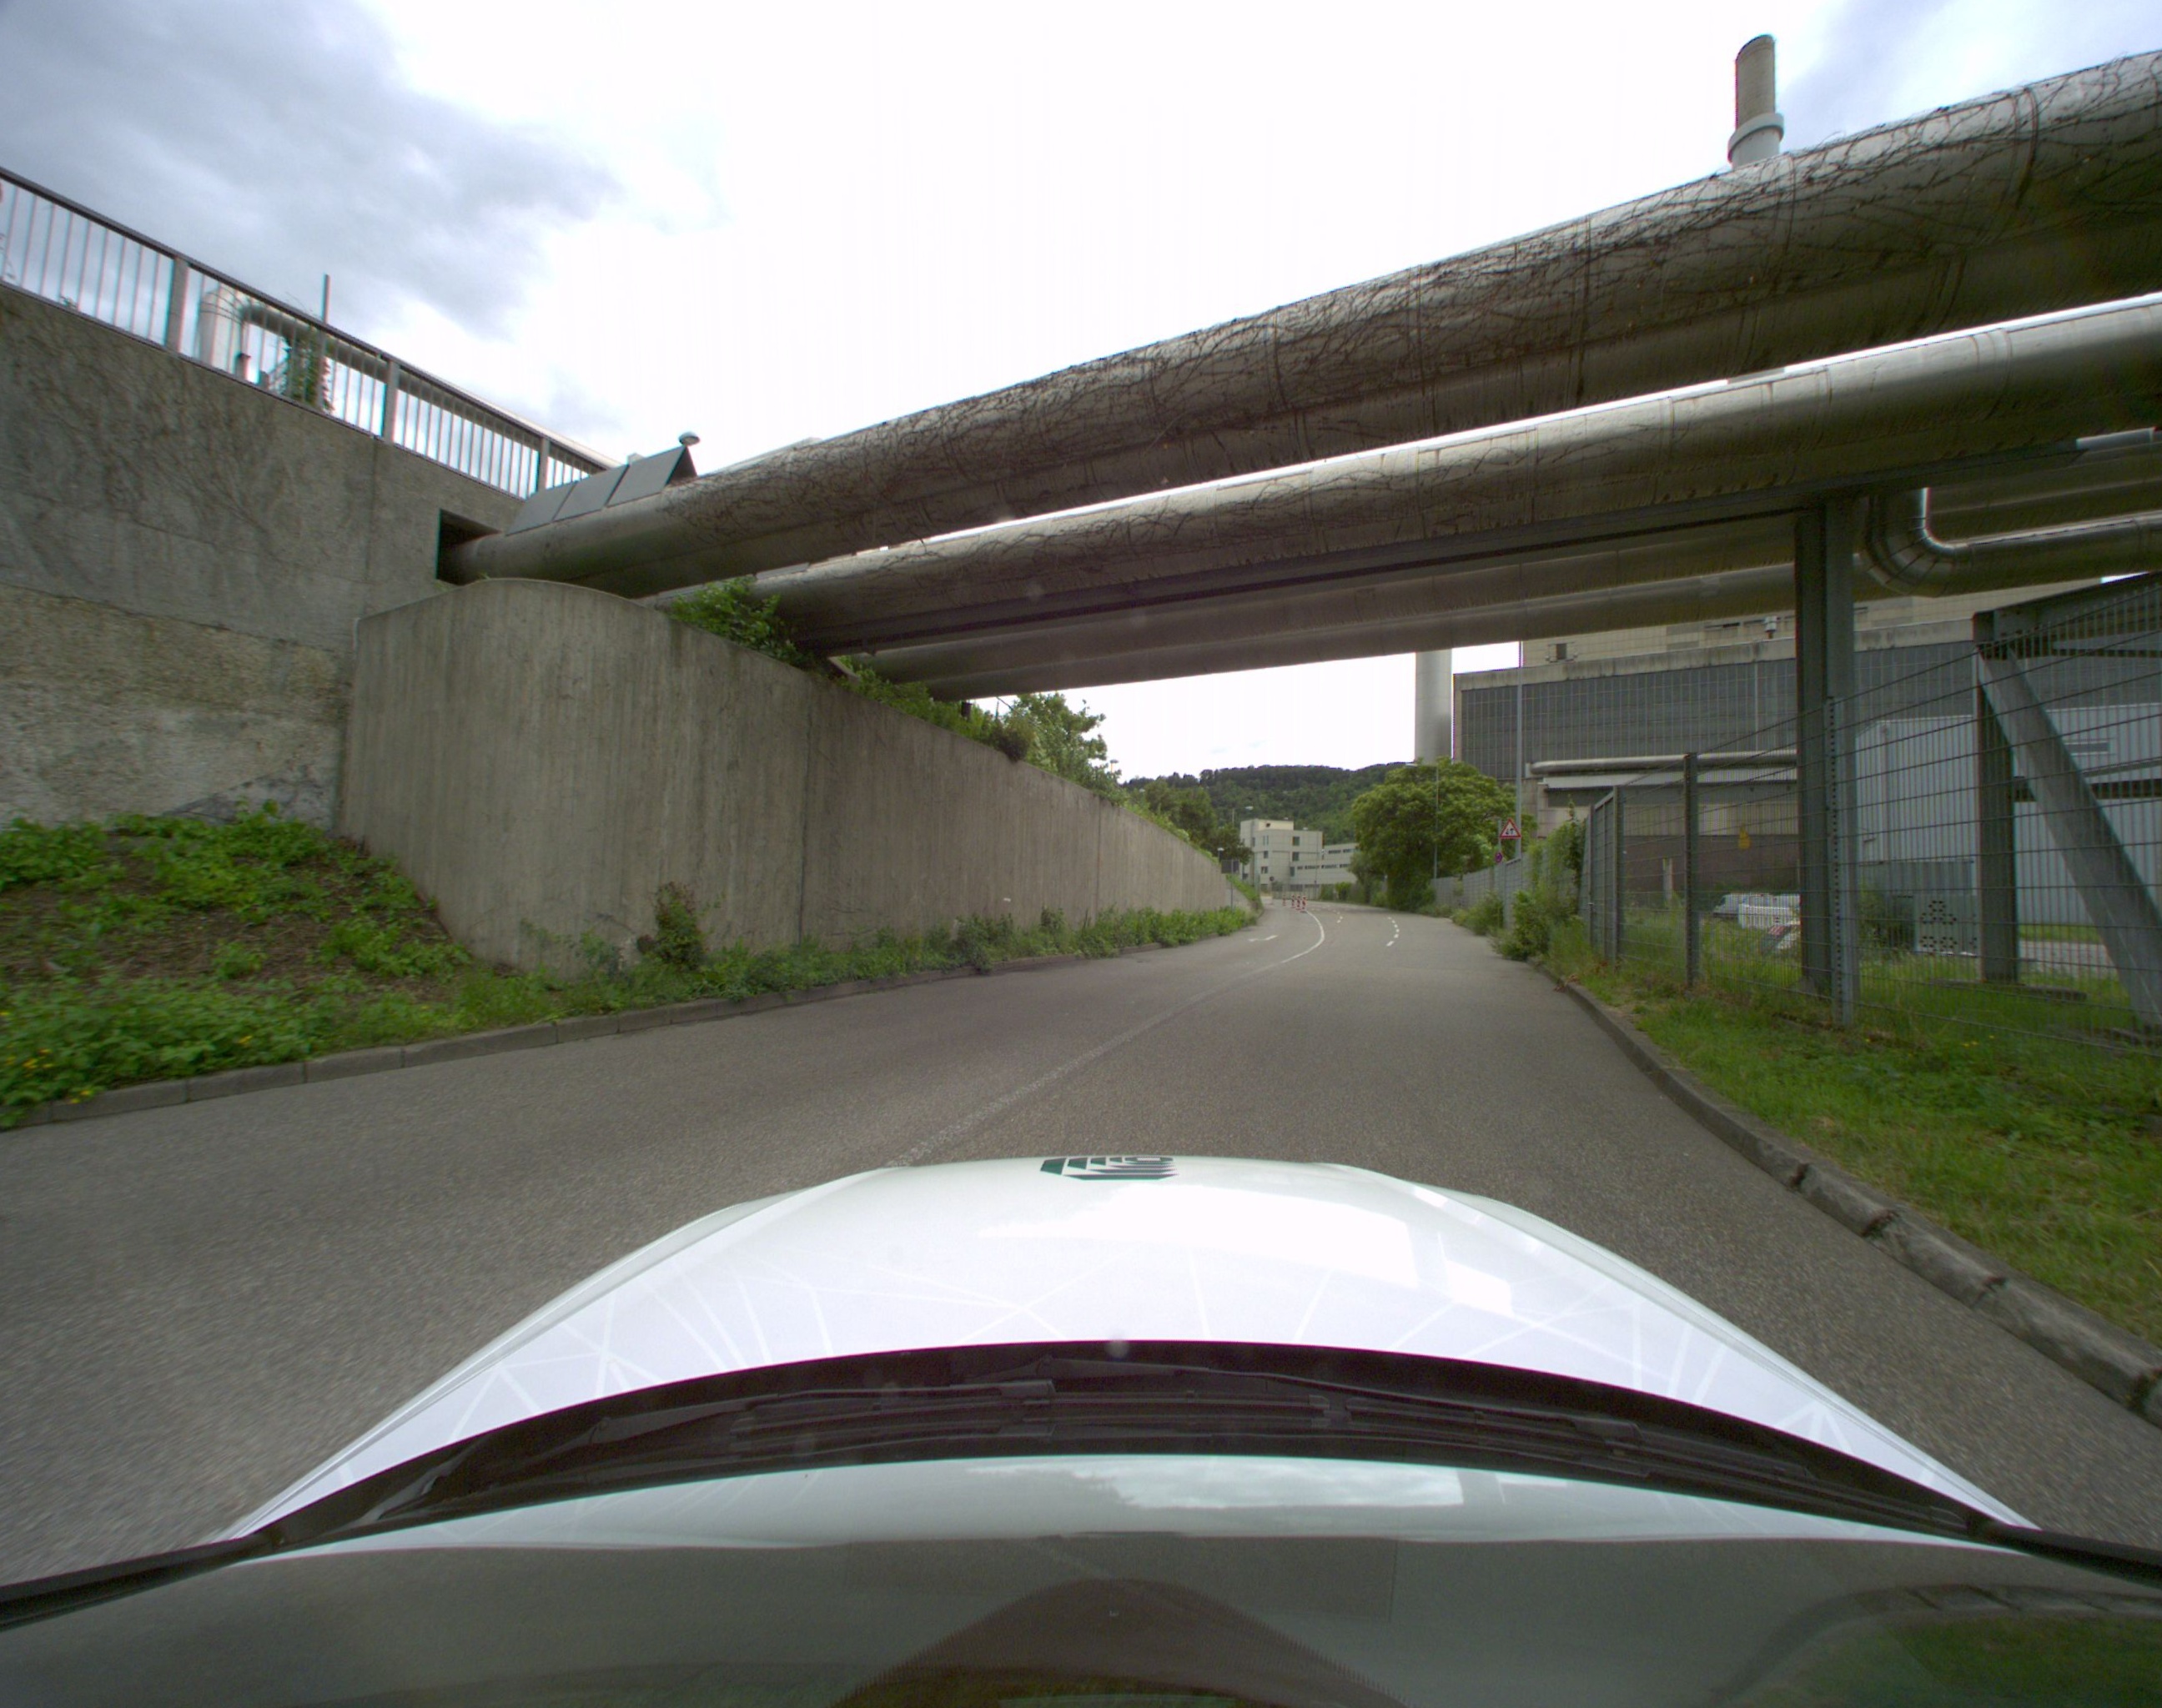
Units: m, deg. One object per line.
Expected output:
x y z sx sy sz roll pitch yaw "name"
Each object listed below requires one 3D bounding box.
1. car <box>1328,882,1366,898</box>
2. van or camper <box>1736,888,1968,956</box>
43.463 5.900 133.155 2.006 2.263 6.110 4 -1 -31 "car"
58.370 5.124 62.259 11.726 4.532 5.503 1 -4 13 "van or camper"
